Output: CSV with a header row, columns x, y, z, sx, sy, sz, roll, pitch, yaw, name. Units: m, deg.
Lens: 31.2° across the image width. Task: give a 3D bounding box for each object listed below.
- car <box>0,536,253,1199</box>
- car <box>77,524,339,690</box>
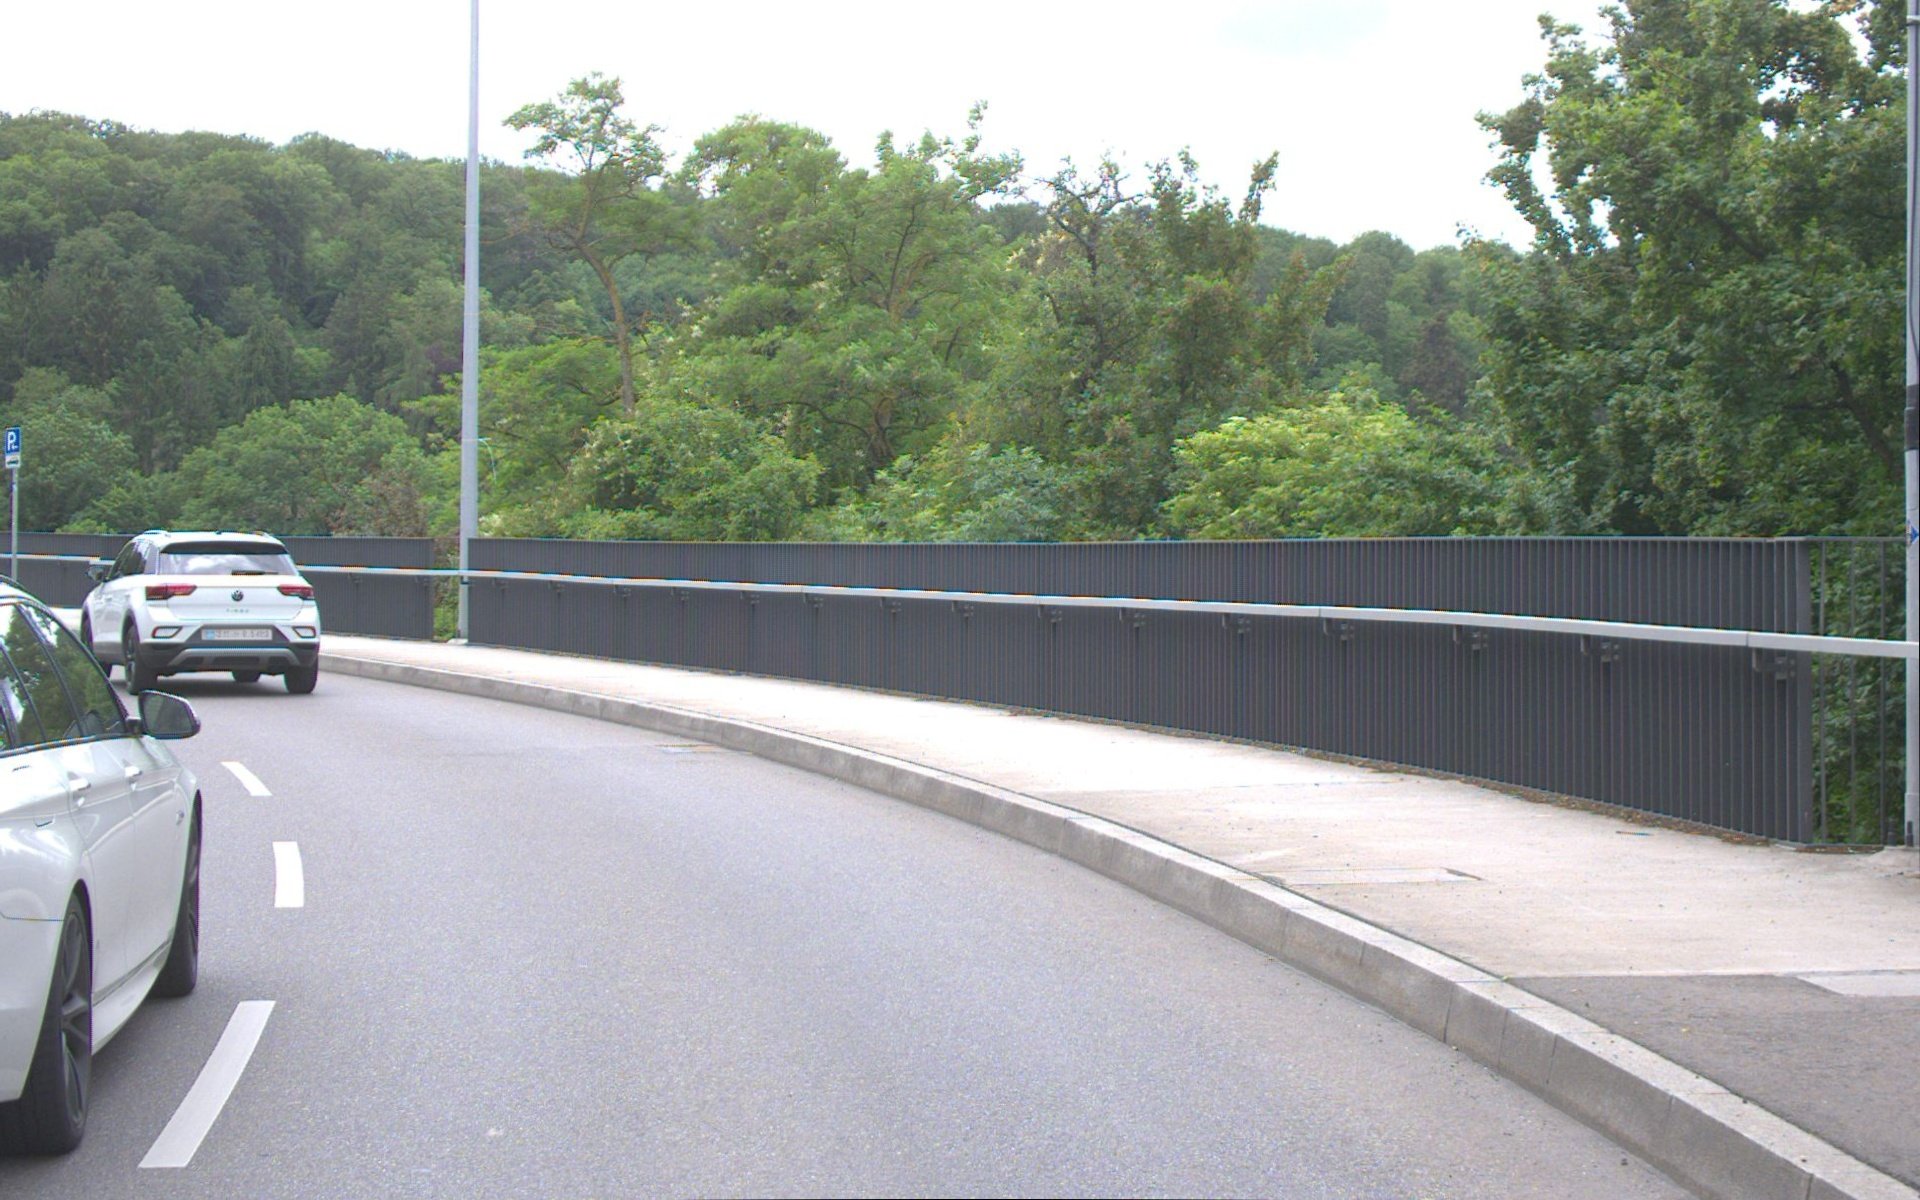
x,y,z,sx,sy,sz,roll,pitch,yaw,name
-3.184,0.584,9.623,1.847,1.461,4.880,0,2,-5,car
-7.489,0.035,33.992,1.866,1.531,3.804,0,1,-23,car
